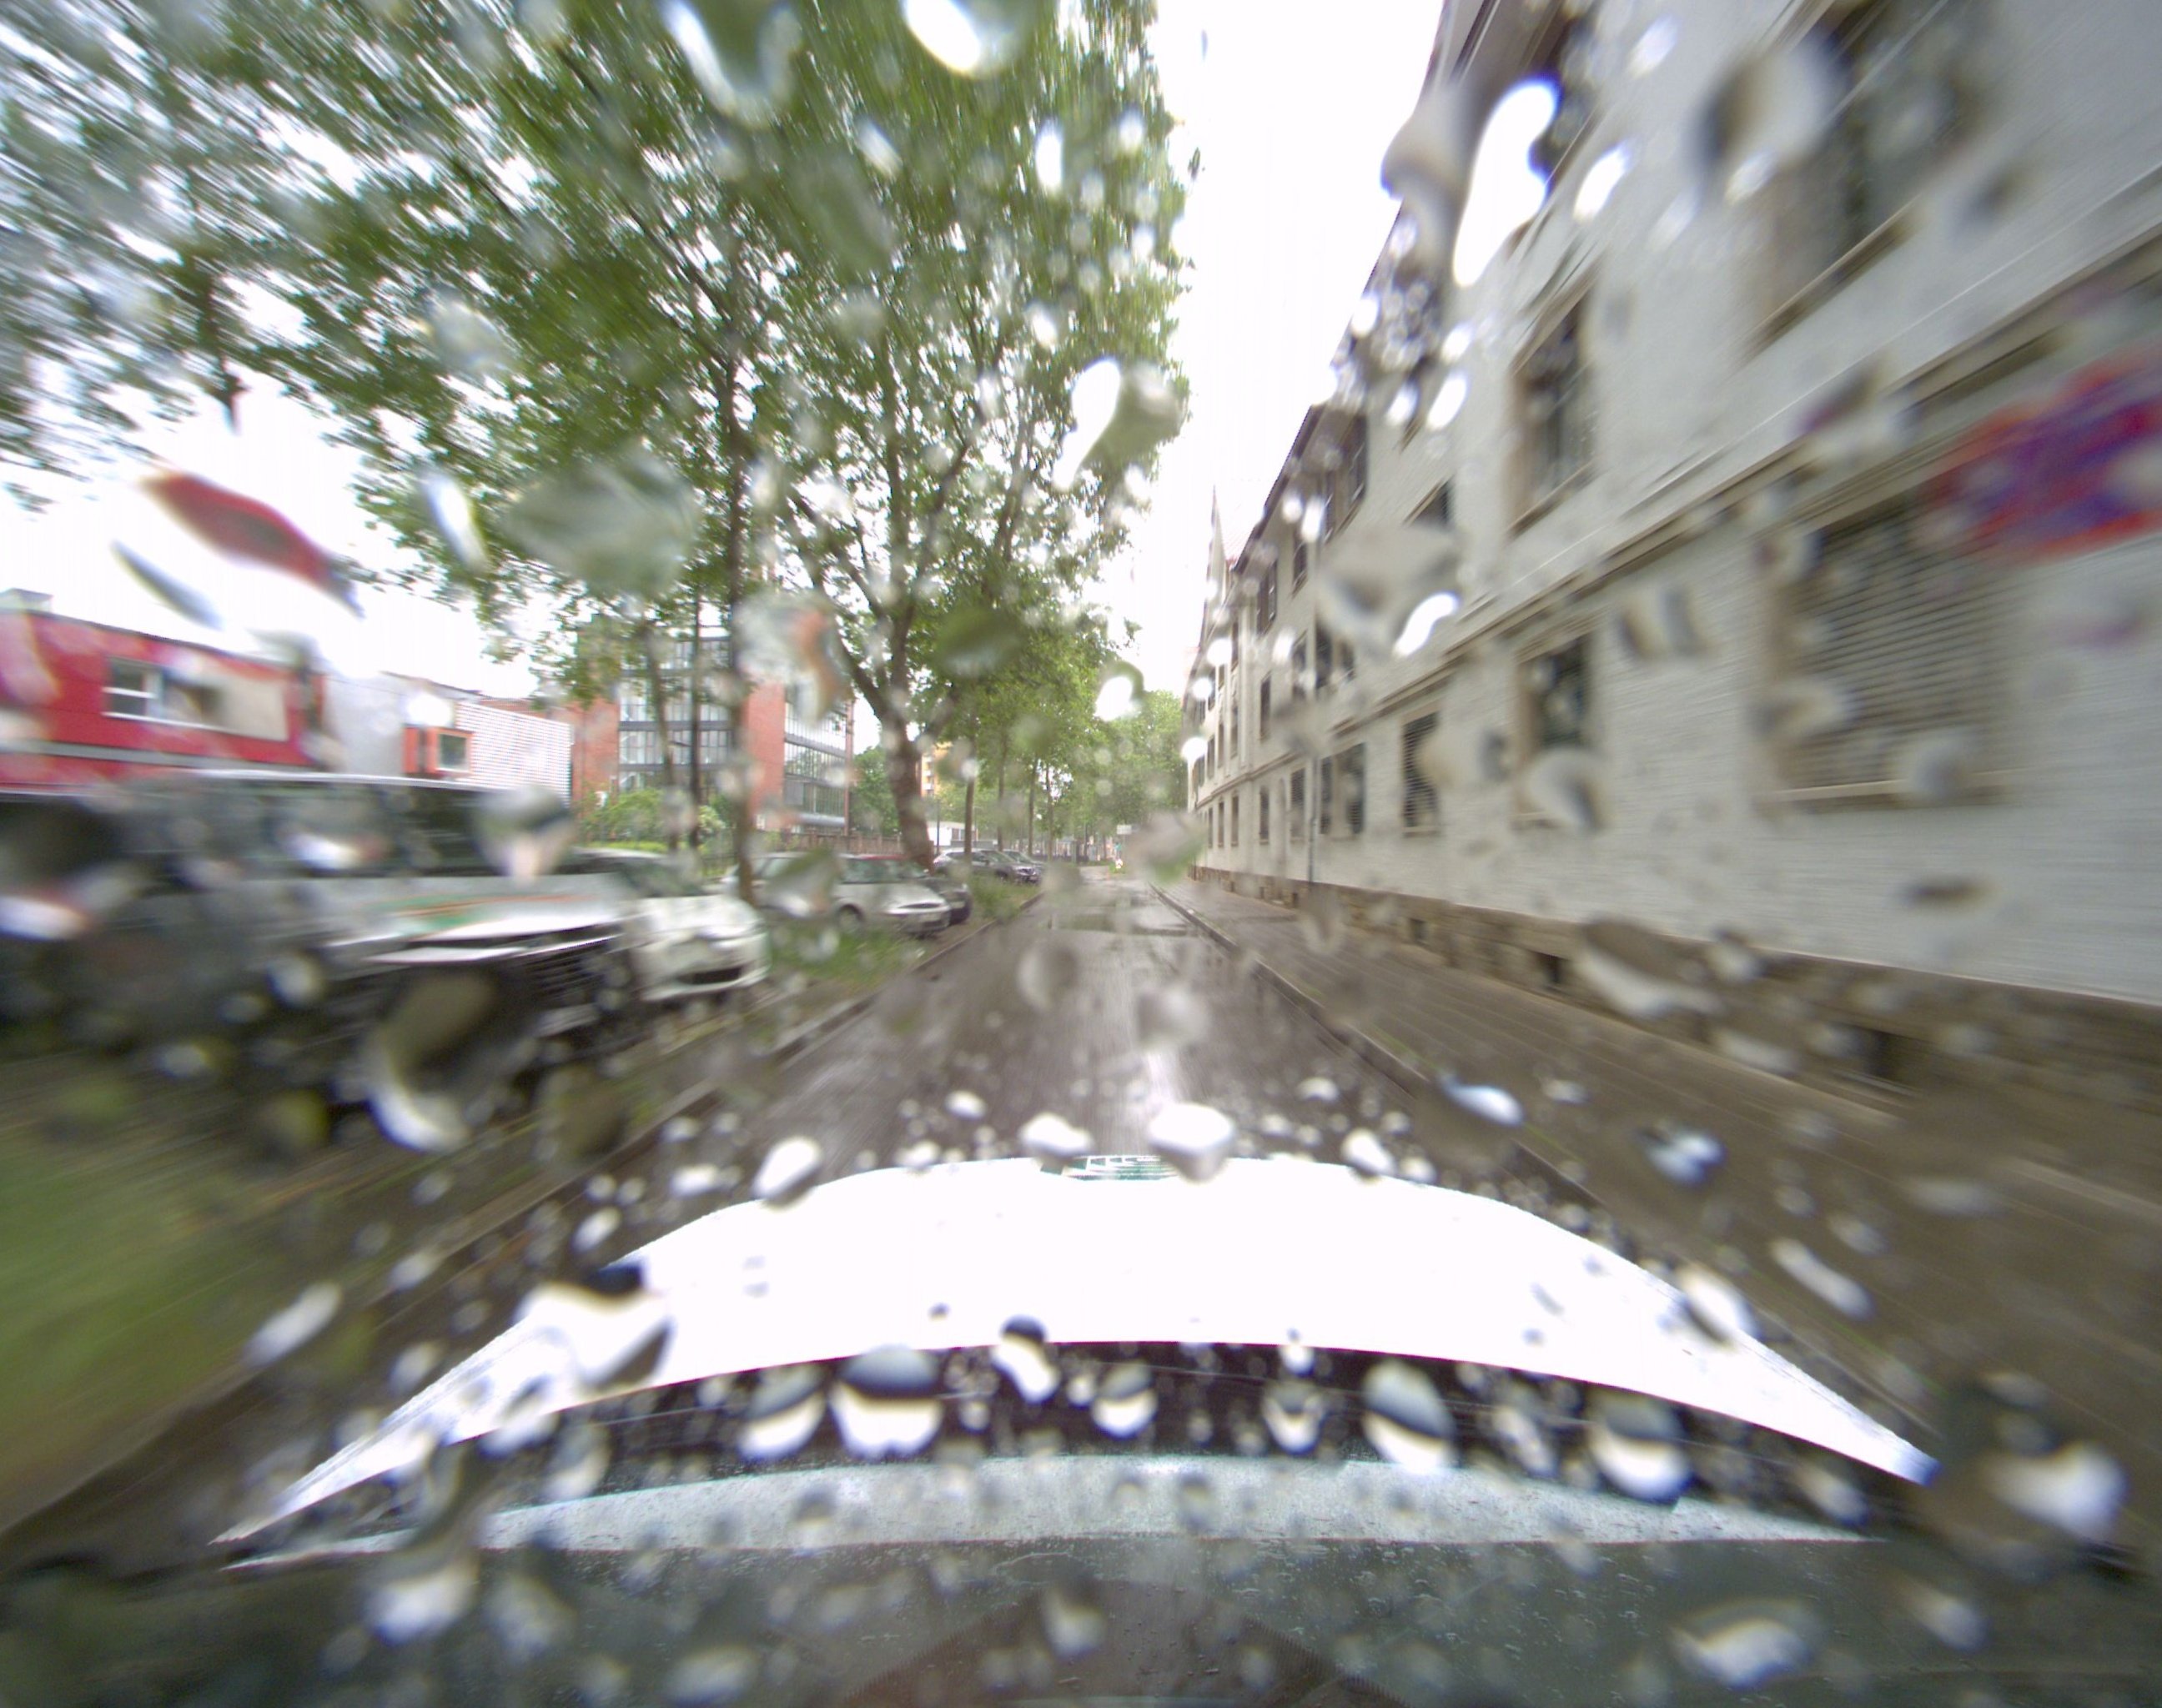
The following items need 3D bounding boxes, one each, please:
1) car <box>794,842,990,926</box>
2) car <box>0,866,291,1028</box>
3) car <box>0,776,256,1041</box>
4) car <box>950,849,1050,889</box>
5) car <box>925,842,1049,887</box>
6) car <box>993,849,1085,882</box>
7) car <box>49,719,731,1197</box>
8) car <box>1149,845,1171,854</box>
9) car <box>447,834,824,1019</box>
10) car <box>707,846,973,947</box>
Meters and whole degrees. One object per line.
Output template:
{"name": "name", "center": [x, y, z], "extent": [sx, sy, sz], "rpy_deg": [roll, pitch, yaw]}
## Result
{"name": "car", "center": [-3.900, 0.551, 16.641], "extent": [3.768, 1.521, 1.733], "rpy_deg": [-1, 1, 32]}
{"name": "car", "center": [-11.224, 0.926, 8.382], "extent": [1.987, 1.420, 4.271], "rpy_deg": [0, 1, -1]}
{"name": "car", "center": [-9.209, 0.402, 5.514], "extent": [1.986, 2.013, 5.031], "rpy_deg": [1, 1, 2]}
{"name": "car", "center": [-3.927, 0.718, 39.228], "extent": [4.474, 1.714, 1.973], "rpy_deg": [-1, 2, 33]}
{"name": "car", "center": [-3.619, 0.357, 31.281], "extent": [4.417, 1.597, 1.935], "rpy_deg": [1, 1, 28]}
{"name": "car", "center": [-2.194, 0.598, 42.138], "extent": [4.308, 1.512, 1.973], "rpy_deg": [-1, 2, 33]}
{"name": "car", "center": [-4.943, 0.434, 5.607], "extent": [5.066, 1.977, 2.116], "rpy_deg": [-1, 1, 32]}
{"name": "car", "center": [15.406, -0.812, 157.800], "extent": [4.020, 1.597, 1.977], "rpy_deg": [2, 0, -41]}
{"name": "car", "center": [-4.579, 0.578, 8.251], "extent": [3.737, 1.482, 1.733], "rpy_deg": [-1, 1, 32]}
{"name": "car", "center": [-4.204, 0.642, 13.960], "extent": [4.502, 1.482, 1.786], "rpy_deg": [-1, 1, 31]}
